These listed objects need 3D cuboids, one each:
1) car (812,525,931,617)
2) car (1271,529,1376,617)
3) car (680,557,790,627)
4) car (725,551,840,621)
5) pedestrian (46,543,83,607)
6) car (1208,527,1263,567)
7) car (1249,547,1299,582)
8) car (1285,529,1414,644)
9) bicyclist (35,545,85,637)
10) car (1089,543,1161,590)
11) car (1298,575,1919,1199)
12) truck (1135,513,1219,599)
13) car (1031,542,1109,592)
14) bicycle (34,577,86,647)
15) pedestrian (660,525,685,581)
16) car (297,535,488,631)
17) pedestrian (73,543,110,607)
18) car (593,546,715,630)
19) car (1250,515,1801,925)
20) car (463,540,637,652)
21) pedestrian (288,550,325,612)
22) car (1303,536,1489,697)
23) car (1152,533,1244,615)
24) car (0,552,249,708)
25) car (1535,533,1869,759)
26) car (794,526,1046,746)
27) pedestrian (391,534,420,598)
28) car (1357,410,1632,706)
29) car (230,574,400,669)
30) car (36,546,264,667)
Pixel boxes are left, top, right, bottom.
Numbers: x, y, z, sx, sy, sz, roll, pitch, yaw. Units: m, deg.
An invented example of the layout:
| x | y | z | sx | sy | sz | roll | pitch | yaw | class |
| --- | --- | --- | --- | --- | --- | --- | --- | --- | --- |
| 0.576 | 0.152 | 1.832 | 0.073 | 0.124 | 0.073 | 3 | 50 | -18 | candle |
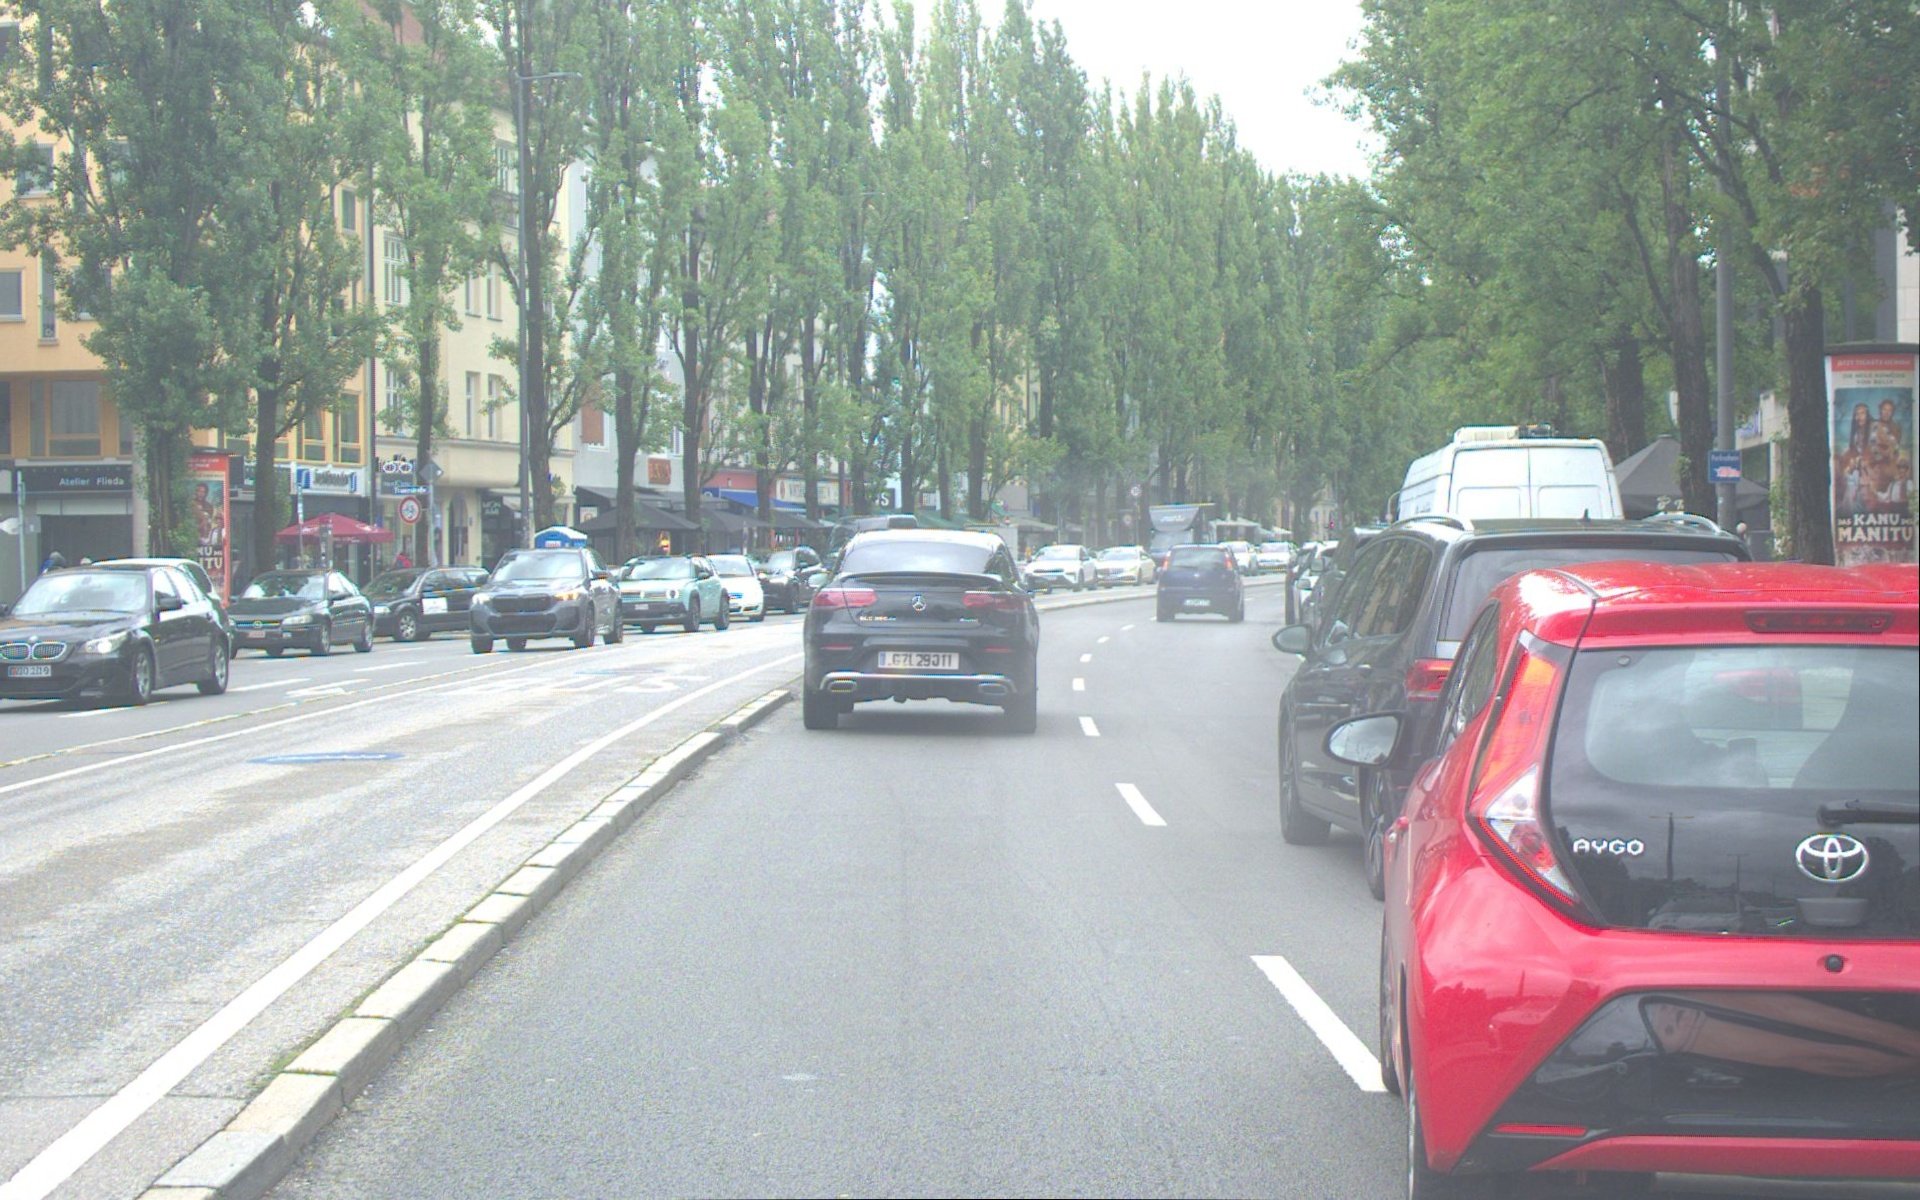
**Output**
| x | y | z | sx | sy | sz | roll | pitch | yaw | class |
| --- | --- | --- | --- | --- | --- | --- | --- | --- | --- |
| -2.528 | -0.877 | 100.450 | 2.171 | 2.596 | 6.061 | -1 | 1 | 11 | car |
| 7.382 | -0.532 | 69.485 | 1.925 | 1.694 | 4.648 | 1 | 0 | 8 | car |
| -5.309 | -0.207 | 81.582 | 1.954 | 1.584 | 3.999 | -1 | 1 | 6 | car |
| -4.590 | -0.383 | 89.437 | 2.019 | 1.710 | 4.981 | -1 | 1 | 8 | car |
| -20.181 | -0.572 | 77.488 | 0.632 | 1.430 | 0.778 | -1 | 1 | -1 | pedestrian |
| 12.382 | -2.377 | 154.255 | 1.861 | 1.705 | 4.534 | -2 | 1 | 12 | car |
| 15.477 | -1.770 | 169.065 | 1.940 | 1.636 | 4.461 | -1 | 1 | 12 | car |
| 5.975 | -0.236 | 53.115 | 1.727 | 1.680 | 4.408 | 0 | 1 | 3 | car |
| -15.752 | -0.167 | 60.194 | 0.502 | 1.587 | 0.834 | -1 | 1 | 12 | bicyclist |
| 6.069 | -1.255 | 126.010 | 1.994 | 1.583 | 5.193 | -2 | 1 | 10 | car |
| 1.753 | 0.675 | 8.214 | 1.665 | 1.441 | 3.596 | 1 | 0 | 2 | car |
| 8.787 | -1.811 | 138.571 | 2.292 | 3.311 | 7.154 | -2 | 1 | 12 | truck |
| 3.667 | -1.108 | 114.077 | 1.910 | 1.597 | 4.353 | -1 | 1 | 11 | car |
| -15.770 | 0.211 | 60.240 | 0.368 | 1.197 | 1.153 | -1 | 1 | 13 | bicycle |
| -9.677 | -1.584 | 115.712 | 0.638 | 1.855 | 0.647 | -1 | 1 | 12 | pedestrian |
| -11.073 | -0.328 | 67.309 | 1.758 | 1.809 | 3.995 | 1 | 0 | 24 | car |
| -19.562 | -0.562 | 77.459 | 0.632 | 1.430 | 0.778 | -1 | 1 | -1 | pedestrian |
| -6.068 | -0.264 | 68.636 | 1.817 | 1.540 | 4.000 | -3 | 1 | 3 | car |
| 2.409 | 0.440 | 15.658 | 1.761 | 1.608 | 4.184 | 0 | 1 | -1 | car |
| -6.395 | -0.096 | 54.060 | 1.994 | 1.615 | 4.413 | -2 | 1 | 2 | car |
| -16.850 | -0.494 | 88.684 | 0.634 | 1.556 | 0.815 | -1 | 1 | 14 | pedestrian |
| 5.170 | 0.146 | 41.301 | 1.929 | 1.799 | 4.779 | 1 | 1 | 4 | car |
| 4.935 | -0.530 | 70.923 | 1.759 | 1.614 | 3.746 | 1 | 0 | 6 | car |
| -9.010 | 0.268 | 36.091 | 1.836 | 1.482 | 4.734 | -1 | 1 | 3 | car |
| 5.279 | 0.271 | 24.949 | 1.725 | 1.449 | 4.147 | 2 | 1 | 4 | car |
| -0.296 | 0.233 | 28.367 | 1.880 | 1.636 | 4.583 | -1 | 1 | 0 | car |
| -15.188 | -0.926 | 94.156 | 0.539 | 1.741 | 0.755 | 0 | 1 | 12 | pedestrian |
| 5.302 | -0.408 | 34.830 | 1.993 | 2.732 | 5.554 | 1 | 0 | 1 | car |
| -10.482 | 0.316 | 56.156 | 1.729 | 1.404 | 4.688 | -1 | 1 | 2 | car |
| -11.375 | 0.050 | 48.567 | 1.994 | 1.594 | 4.289 | -1 | 1 | 3 | car |
